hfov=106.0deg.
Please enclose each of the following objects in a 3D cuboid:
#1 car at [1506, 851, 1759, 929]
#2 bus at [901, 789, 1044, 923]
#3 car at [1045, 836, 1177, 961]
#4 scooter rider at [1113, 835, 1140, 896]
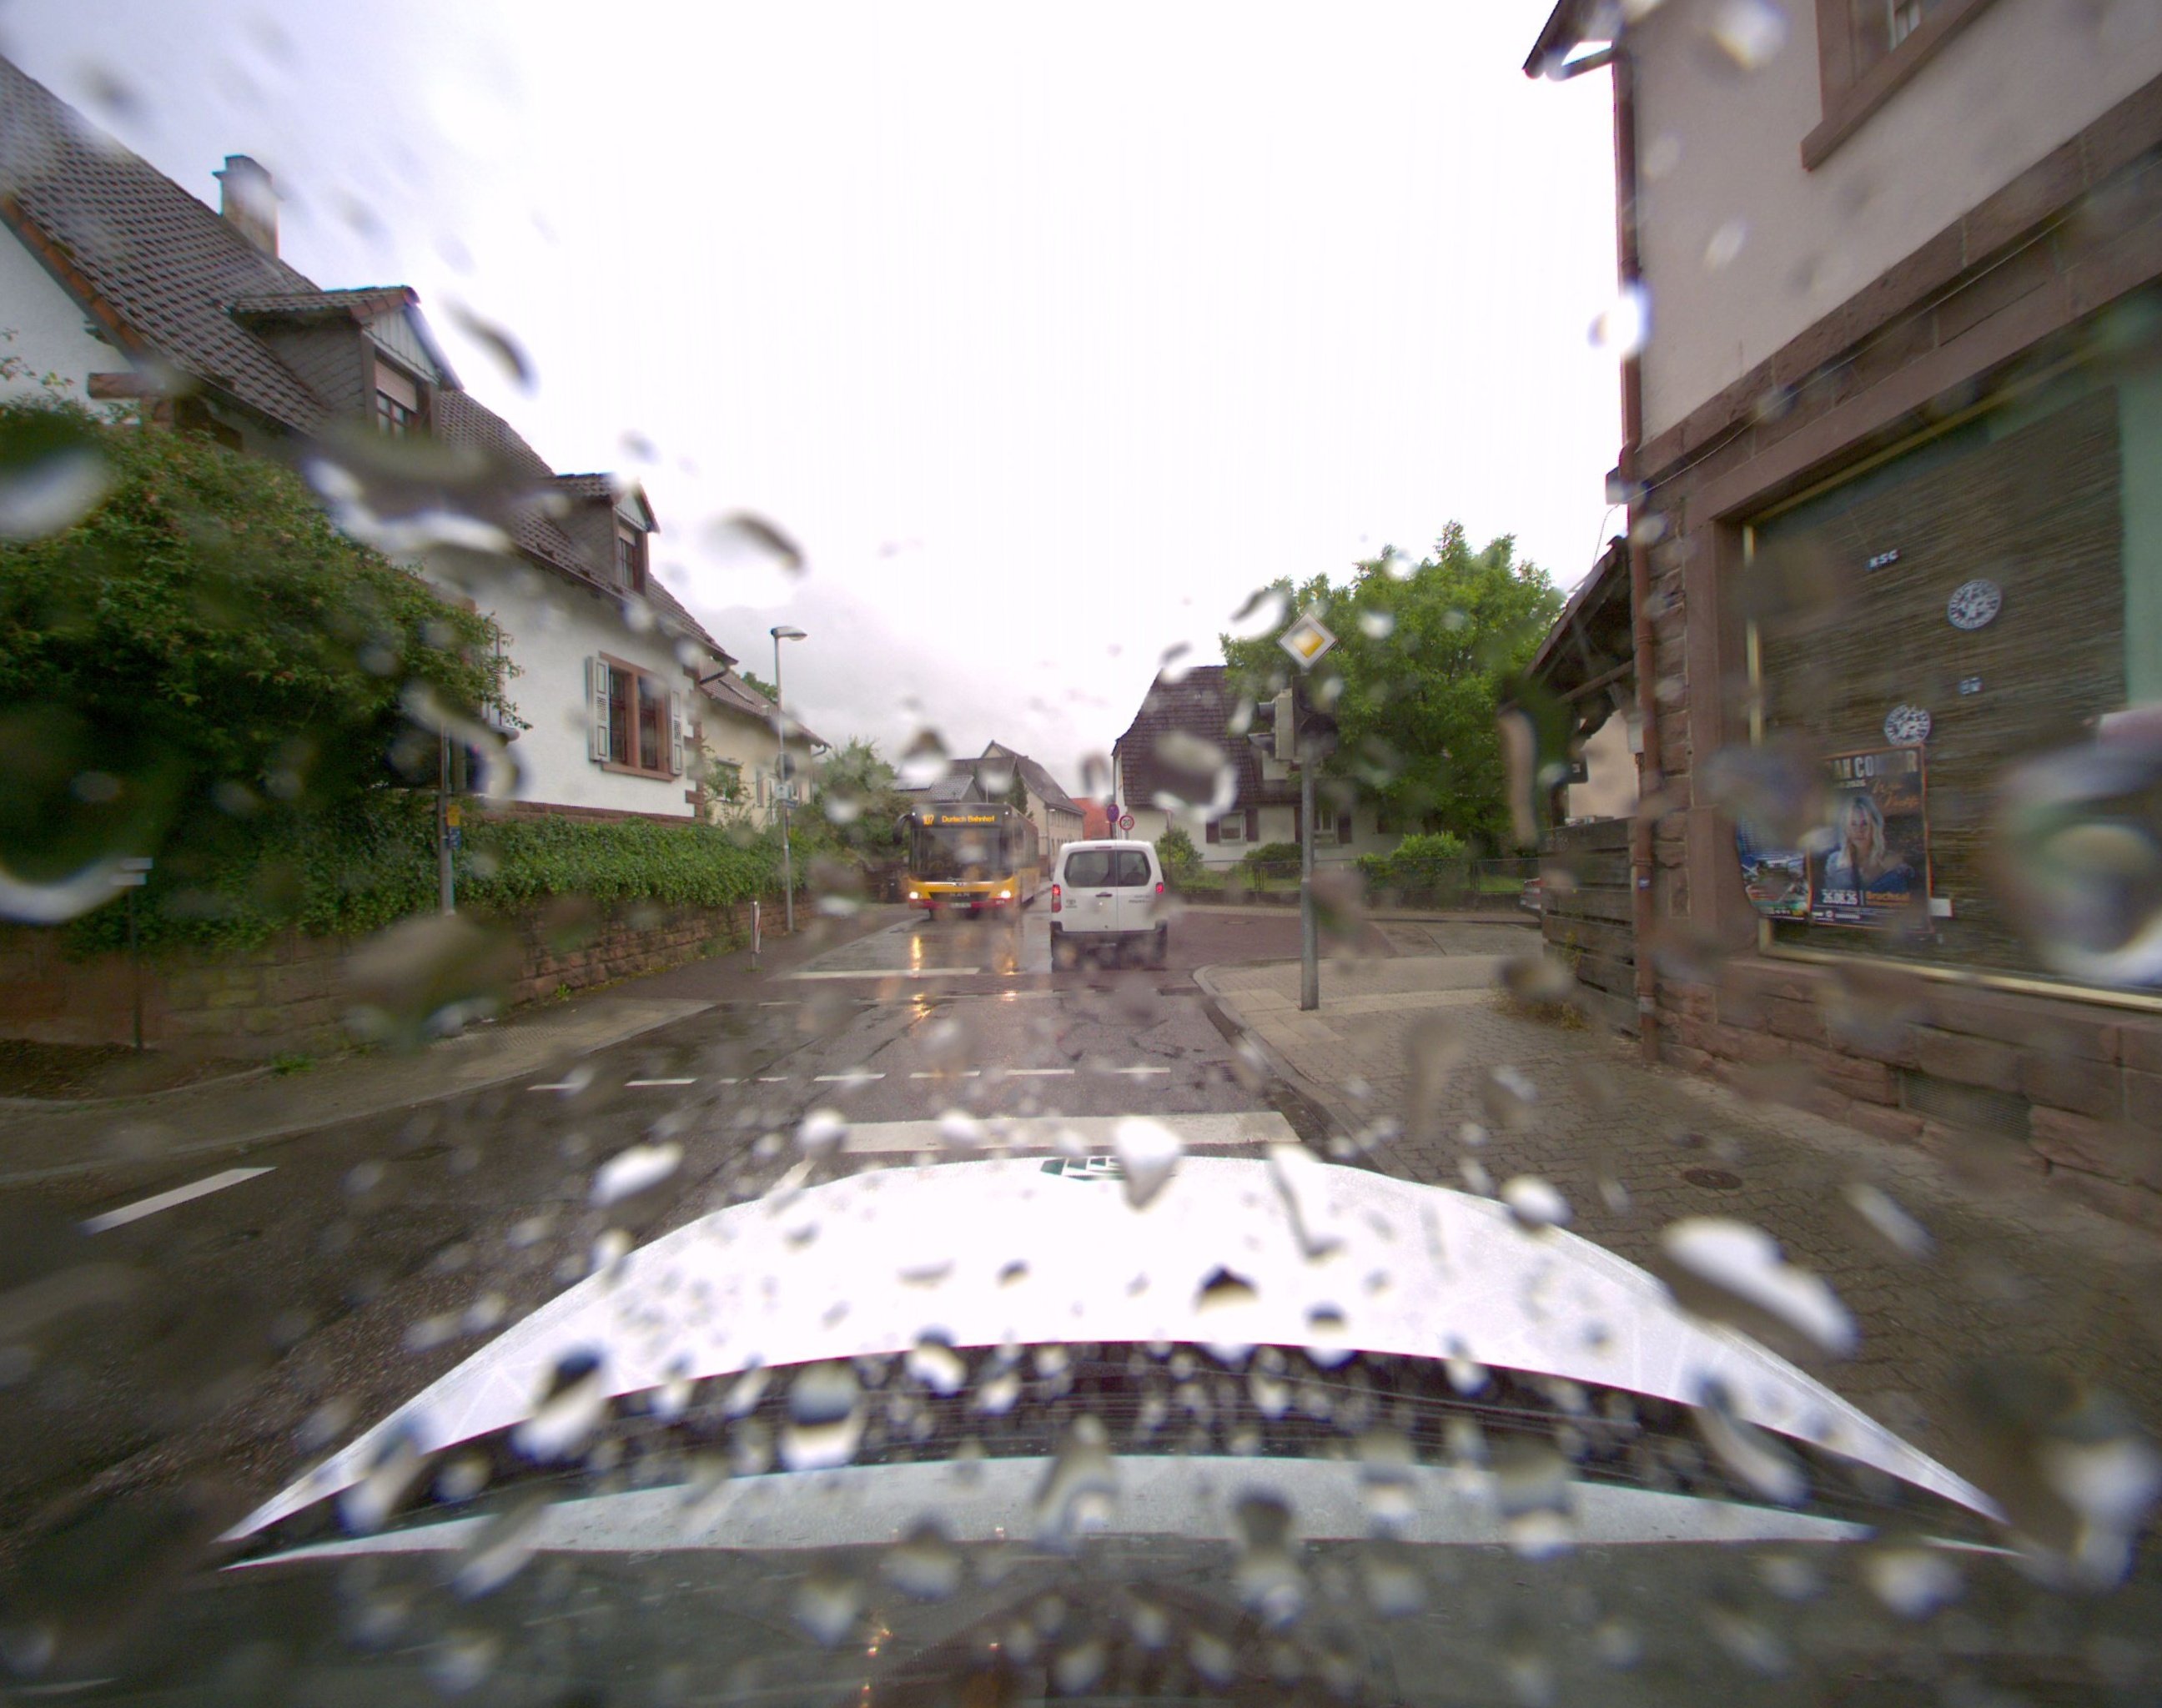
[{"bbox_3d":[11.121,0.703,16.743,3.957,1.467,1.791,0,-1,16],"label":"car"},{"bbox_3d":[-2.758,-0.090,24.759,2.641,2.999,12.192,-2,1,0],"label":"bus"},{"bbox_3d":[0.460,0.649,13.774,1.888,1.794,3.813,-1,0,0],"label":"car"},{"bbox_3d":[1.326,0.334,23.752,0.728,1.733,0.518,-2,1,3],"label":"scooter rider"}]
